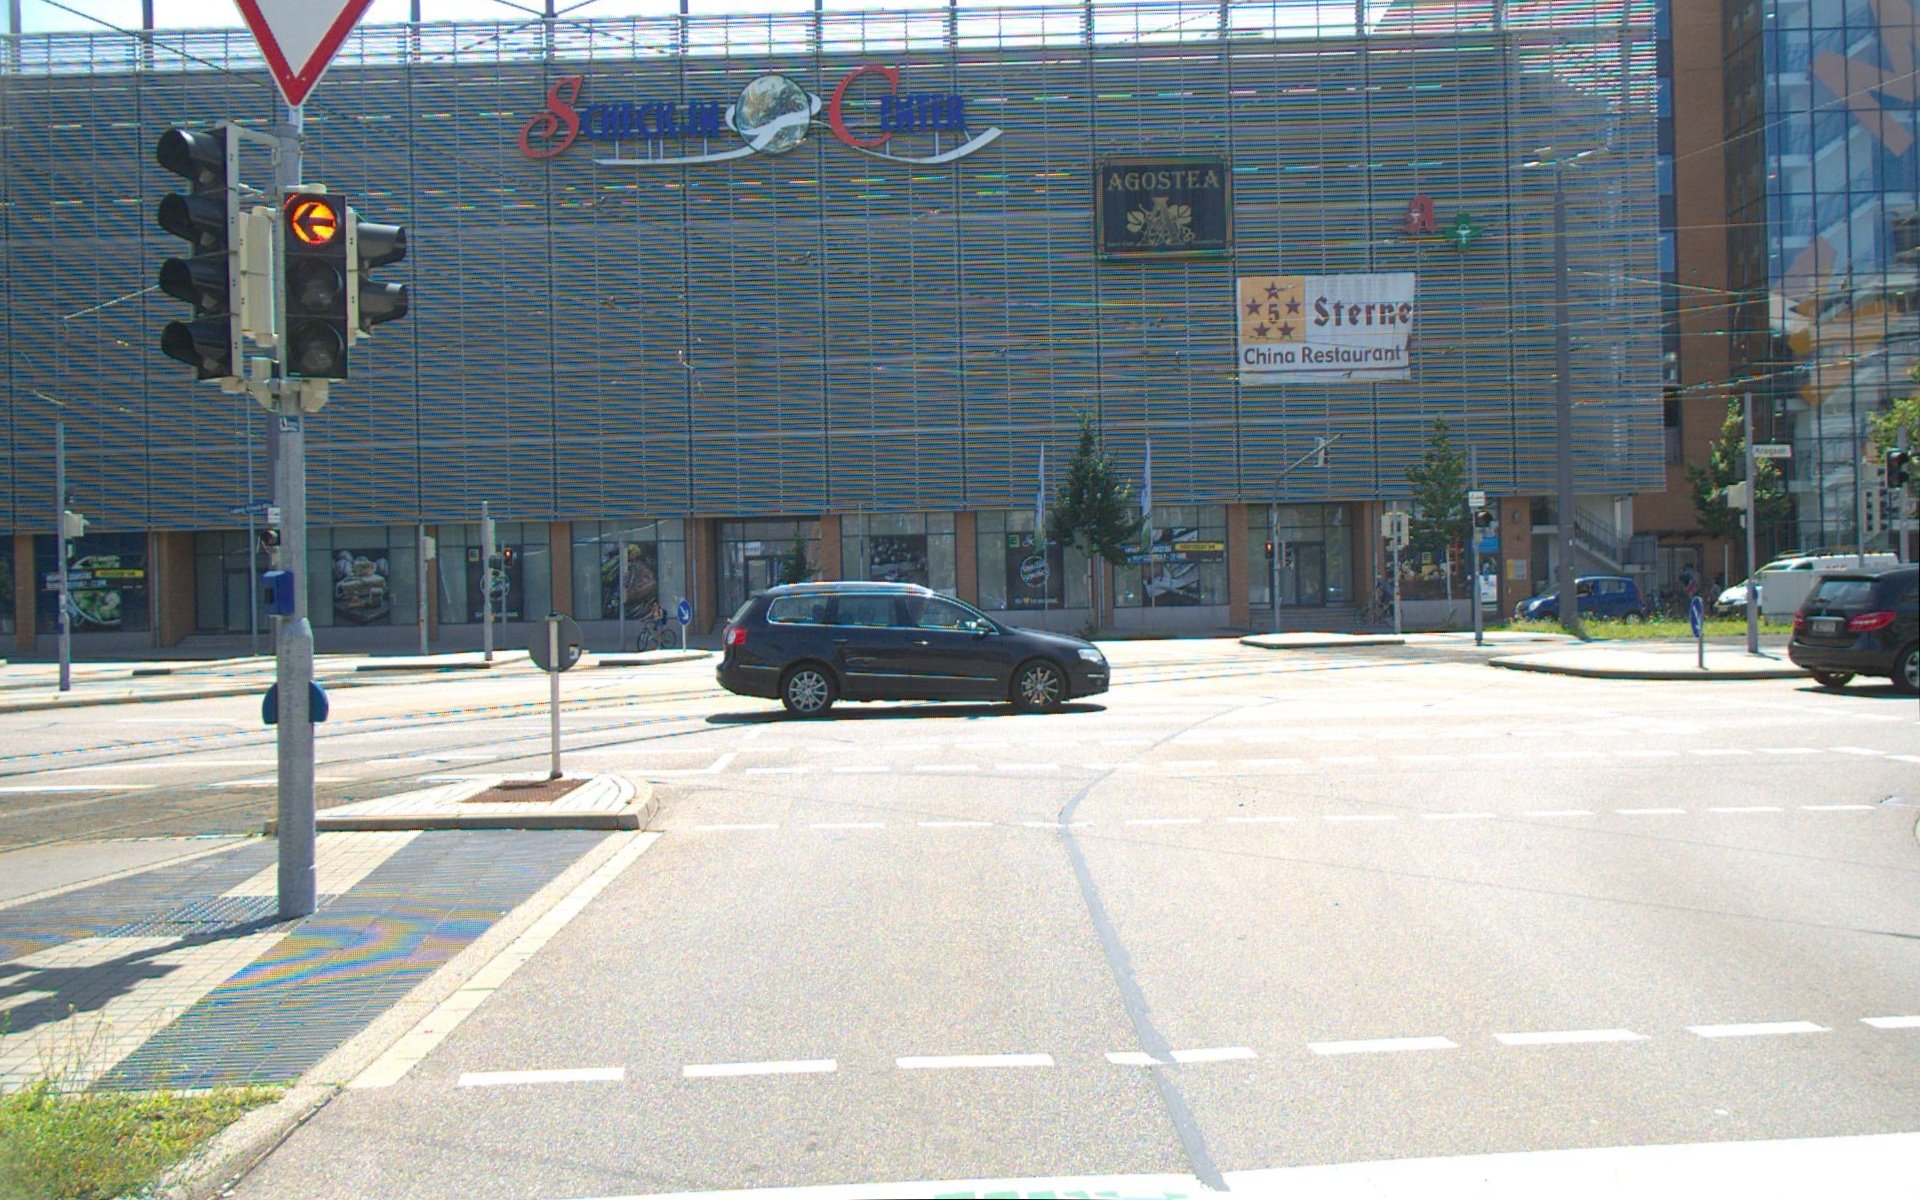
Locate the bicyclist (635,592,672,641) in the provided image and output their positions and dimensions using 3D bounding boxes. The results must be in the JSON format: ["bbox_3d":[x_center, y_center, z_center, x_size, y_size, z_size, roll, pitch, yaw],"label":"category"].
[{"bbox_3d":[-10.176,0.554,54.882,1.017,1.599,0.778,0,1,7],"label":"bicyclist"}]

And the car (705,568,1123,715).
[{"bbox_3d":[-0.582,0.443,19.801,4.761,1.608,1.998,-1,1,-6],"label":"car"}]

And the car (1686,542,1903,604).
[{"bbox_3d":[23.904,-0.768,47.468,5.357,1.697,1.998,-1,1,-6],"label":"car"}]

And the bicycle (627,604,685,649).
[{"bbox_3d":[-10.130,0.867,55.235,1.039,1.414,3.026,0,1,7],"label":"bicycle"}]

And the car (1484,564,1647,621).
[{"bbox_3d":[17.075,-0.226,46.759,3.906,1.565,1.881,-1,1,-2],"label":"car"}]

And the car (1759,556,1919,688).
[{"bbox_3d":[12.704,0.232,20.942,4.234,1.580,1.998,-1,1,-4],"label":"car"}]

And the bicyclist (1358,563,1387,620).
[{"bbox_3d":[15.020,-0.327,60.239,0.893,2.049,0.748,0,1,2],"label":"bicyclist"}]

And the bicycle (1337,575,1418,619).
[{"bbox_3d":[15.215,-0.107,60.286,2.790,1.584,0.705,0,1,3],"label":"bicycle"}]
